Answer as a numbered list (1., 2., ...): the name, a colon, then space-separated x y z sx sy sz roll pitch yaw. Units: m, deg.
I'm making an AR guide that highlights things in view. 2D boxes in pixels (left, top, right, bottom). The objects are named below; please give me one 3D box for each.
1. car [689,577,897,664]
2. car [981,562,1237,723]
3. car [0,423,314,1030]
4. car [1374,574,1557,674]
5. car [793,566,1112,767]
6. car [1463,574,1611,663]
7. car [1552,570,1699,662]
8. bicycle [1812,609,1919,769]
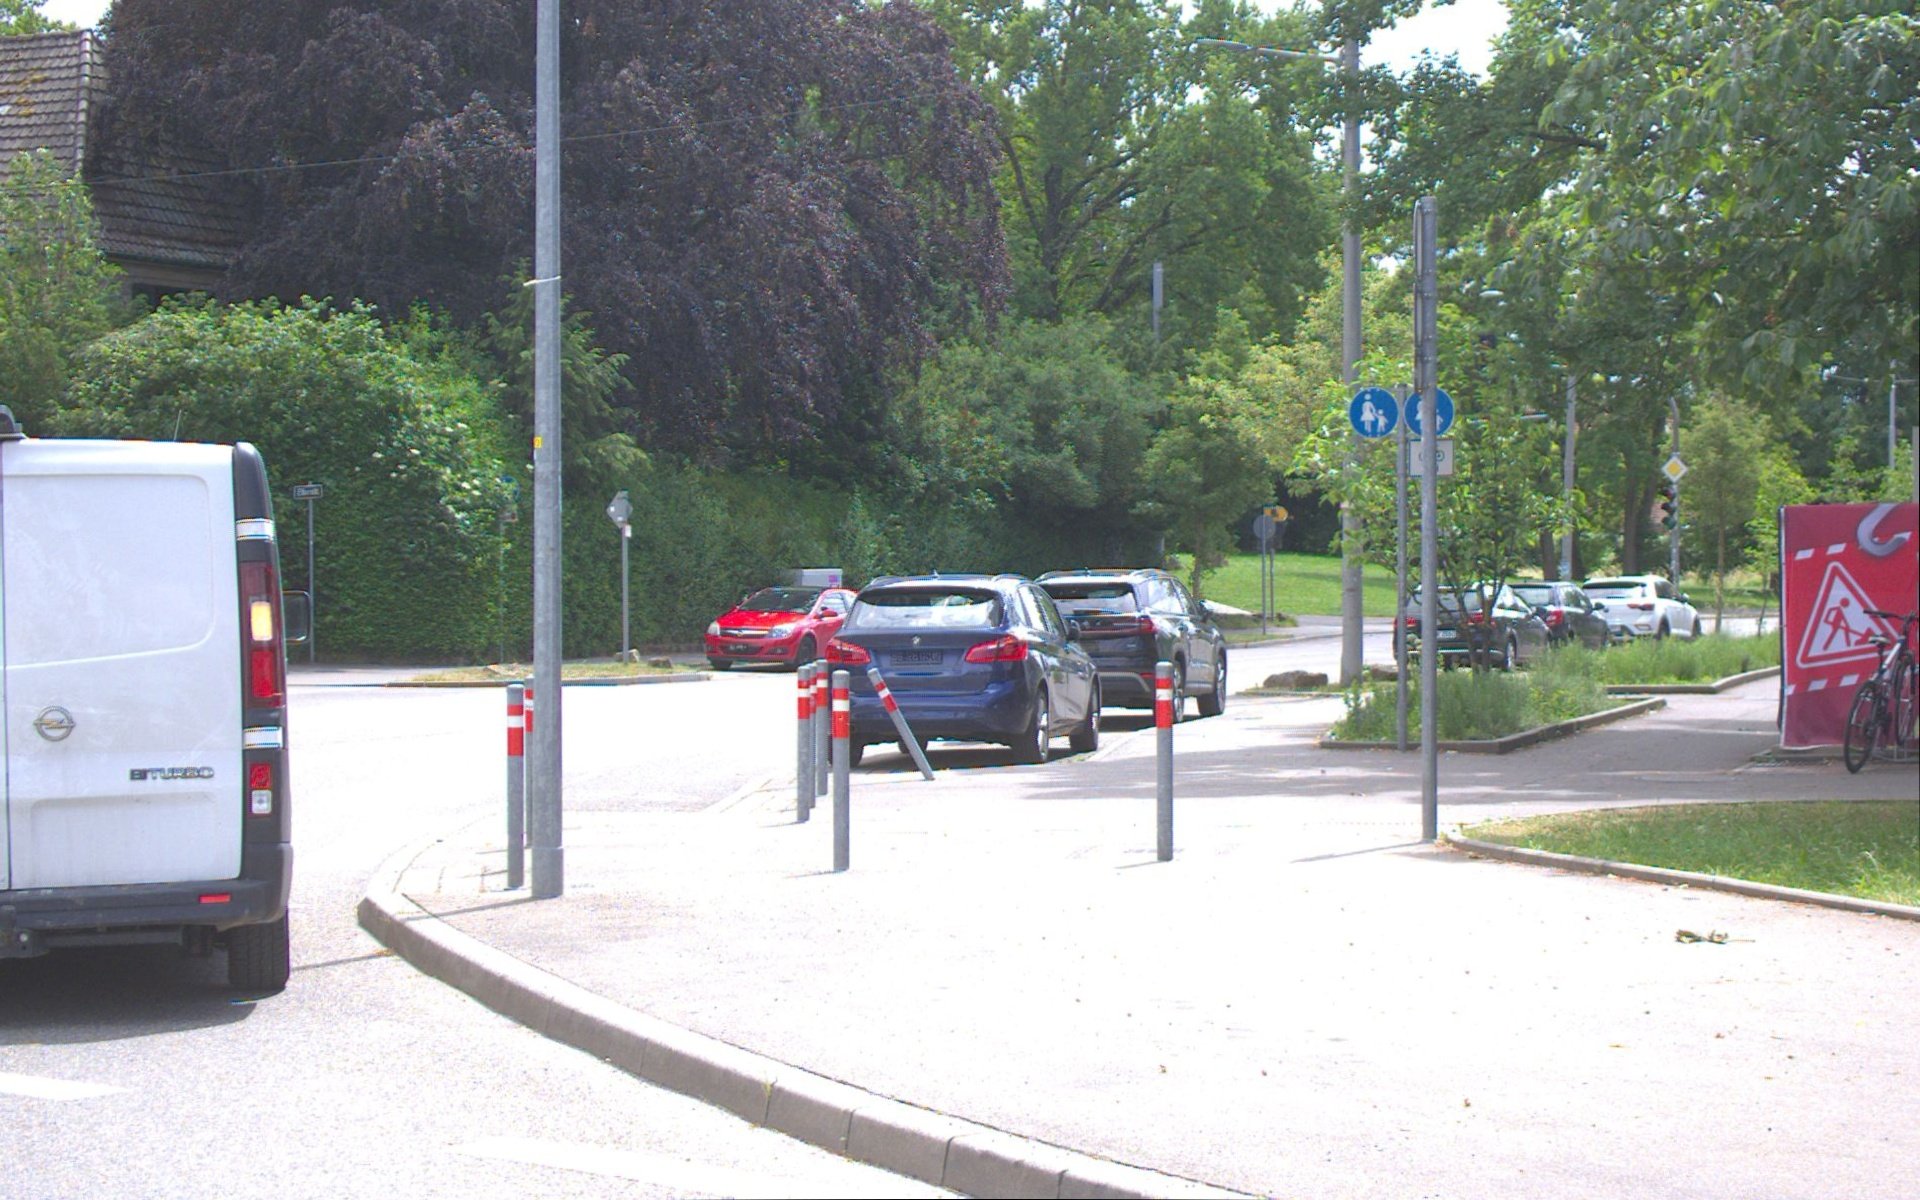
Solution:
1. car: -2.782 0.325 58.403 1.662 1.373 4.560 2 1 24
2. car: 1.703 0.423 37.390 1.880 1.616 4.844 -1 0 13
3. car: -3.682 0.411 13.398 1.938 1.954 4.834 0 0 -15
4. car: 8.092 0.359 54.659 1.766 1.472 4.930 -2 -1 21
5. car: 0.030 0.524 29.464 1.917 1.573 4.428 -1 0 11
6. car: 9.985 0.304 59.311 1.570 1.488 3.995 -1 0 24
7. car: 12.492 0.286 64.343 1.739 1.611 4.381 -2 -1 24
8. bicycle: 6.945 0.649 25.914 0.451 1.151 1.787 1 1 33
